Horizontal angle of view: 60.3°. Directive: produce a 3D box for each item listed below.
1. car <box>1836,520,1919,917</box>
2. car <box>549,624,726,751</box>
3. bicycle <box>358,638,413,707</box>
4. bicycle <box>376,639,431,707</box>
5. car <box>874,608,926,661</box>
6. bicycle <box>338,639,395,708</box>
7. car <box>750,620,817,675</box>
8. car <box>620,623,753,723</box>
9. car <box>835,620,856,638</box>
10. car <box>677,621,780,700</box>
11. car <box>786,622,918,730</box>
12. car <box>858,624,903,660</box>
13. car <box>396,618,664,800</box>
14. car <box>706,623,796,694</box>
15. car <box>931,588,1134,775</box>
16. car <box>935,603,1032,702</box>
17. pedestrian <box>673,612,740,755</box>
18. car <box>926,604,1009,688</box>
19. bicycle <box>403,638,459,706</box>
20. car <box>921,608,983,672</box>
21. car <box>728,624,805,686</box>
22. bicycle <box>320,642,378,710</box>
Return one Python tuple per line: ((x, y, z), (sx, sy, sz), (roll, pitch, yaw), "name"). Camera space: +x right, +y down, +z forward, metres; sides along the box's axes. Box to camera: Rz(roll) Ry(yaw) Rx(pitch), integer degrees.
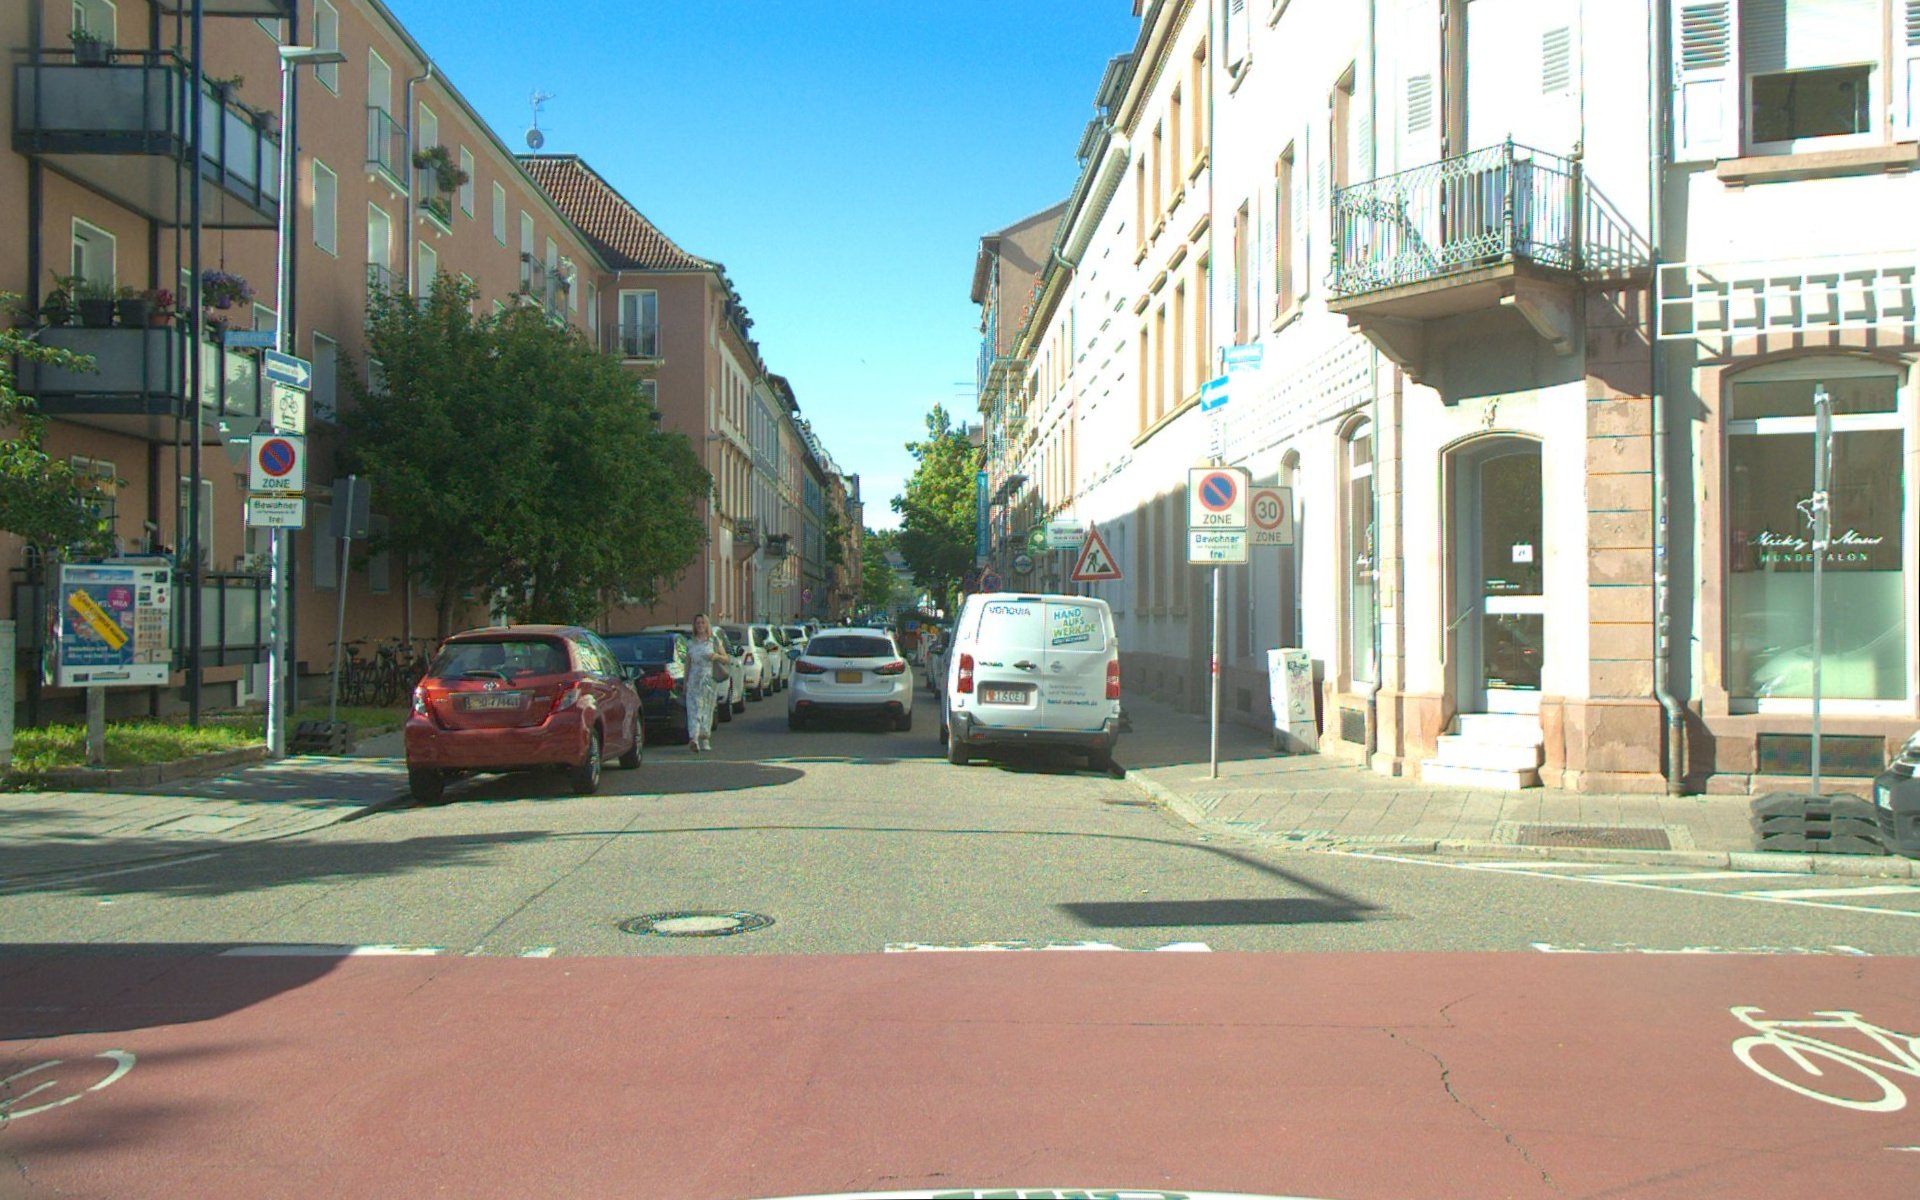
((7.303, 0.590, 8.319), (4.907, 1.980, 2.050), (0, -1, 22), "car")
((-4.202, 1.088, 22.130), (1.620, 1.526, 4.078), (0, -1, -1), "car")
((-9.364, 1.170, 26.935), (1.193, 1.089, 0.252), (-1, -1, 38), "bicycle")
((-9.145, 1.189, 27.179), (1.193, 1.090, 0.252), (-1, -1, 38), "bicycle")
((-2.181, 1.263, 61.062), (1.856, 1.892, 3.993), (0, -1, -1), "car")
((-9.574, 1.174, 26.677), (1.193, 1.091, 0.265), (-1, -1, 38), "bicycle")
((-5.138, 1.366, 48.544), (1.620, 1.526, 3.762), (0, -1, -1), "car")
((-4.421, 1.146, 27.197), (1.620, 1.526, 3.762), (0, -1, -1), "car")
((-10.012, 2.549, 144.455), (1.620, 1.526, 3.762), (0, -1, -1), "car")
((-4.674, 1.198, 33.836), (1.620, 1.526, 3.762), (0, -1, -1), "car")
((-1.543, 1.130, 24.897), (1.794, 1.483, 3.960), (0, -2, -1), "car")
((-3.273, 1.718, 68.758), (1.725, 1.435, 4.326), (0, -1, -1), "car")
((-4.046, 0.961, 16.176), (1.650, 1.526, 3.805), (-1, -1, -1), "car")
((-4.747, 1.297, 37.951), (1.620, 1.526, 3.762), (0, -1, -1), "car")
((0.719, 0.881, 19.833), (1.857, 1.892, 5.010), (2, -1, -3), "car")
((0.430, 1.021, 33.635), (1.856, 1.892, 3.993), (0, -1, -1), "car")
((-3.022, 0.975, 19.681), (0.720, 1.642, 0.813), (0, -1, -13), "pedestrian")
((0.131, 1.050, 39.007), (1.856, 1.892, 3.993), (0, -1, -1), "car")
((-8.725, 1.170, 27.258), (1.196, 1.090, 0.252), (-1, -1, 38), "bicycle")
((-0.268, 1.220, 51.169), (1.856, 1.892, 3.993), (0, -1, -1), "car")
((-4.988, 1.391, 43.044), (1.620, 1.526, 3.762), (0, -1, -1), "car")
((-9.770, 1.201, 26.419), (1.193, 1.053, 0.290), (-1, -1, 38), "bicycle")
